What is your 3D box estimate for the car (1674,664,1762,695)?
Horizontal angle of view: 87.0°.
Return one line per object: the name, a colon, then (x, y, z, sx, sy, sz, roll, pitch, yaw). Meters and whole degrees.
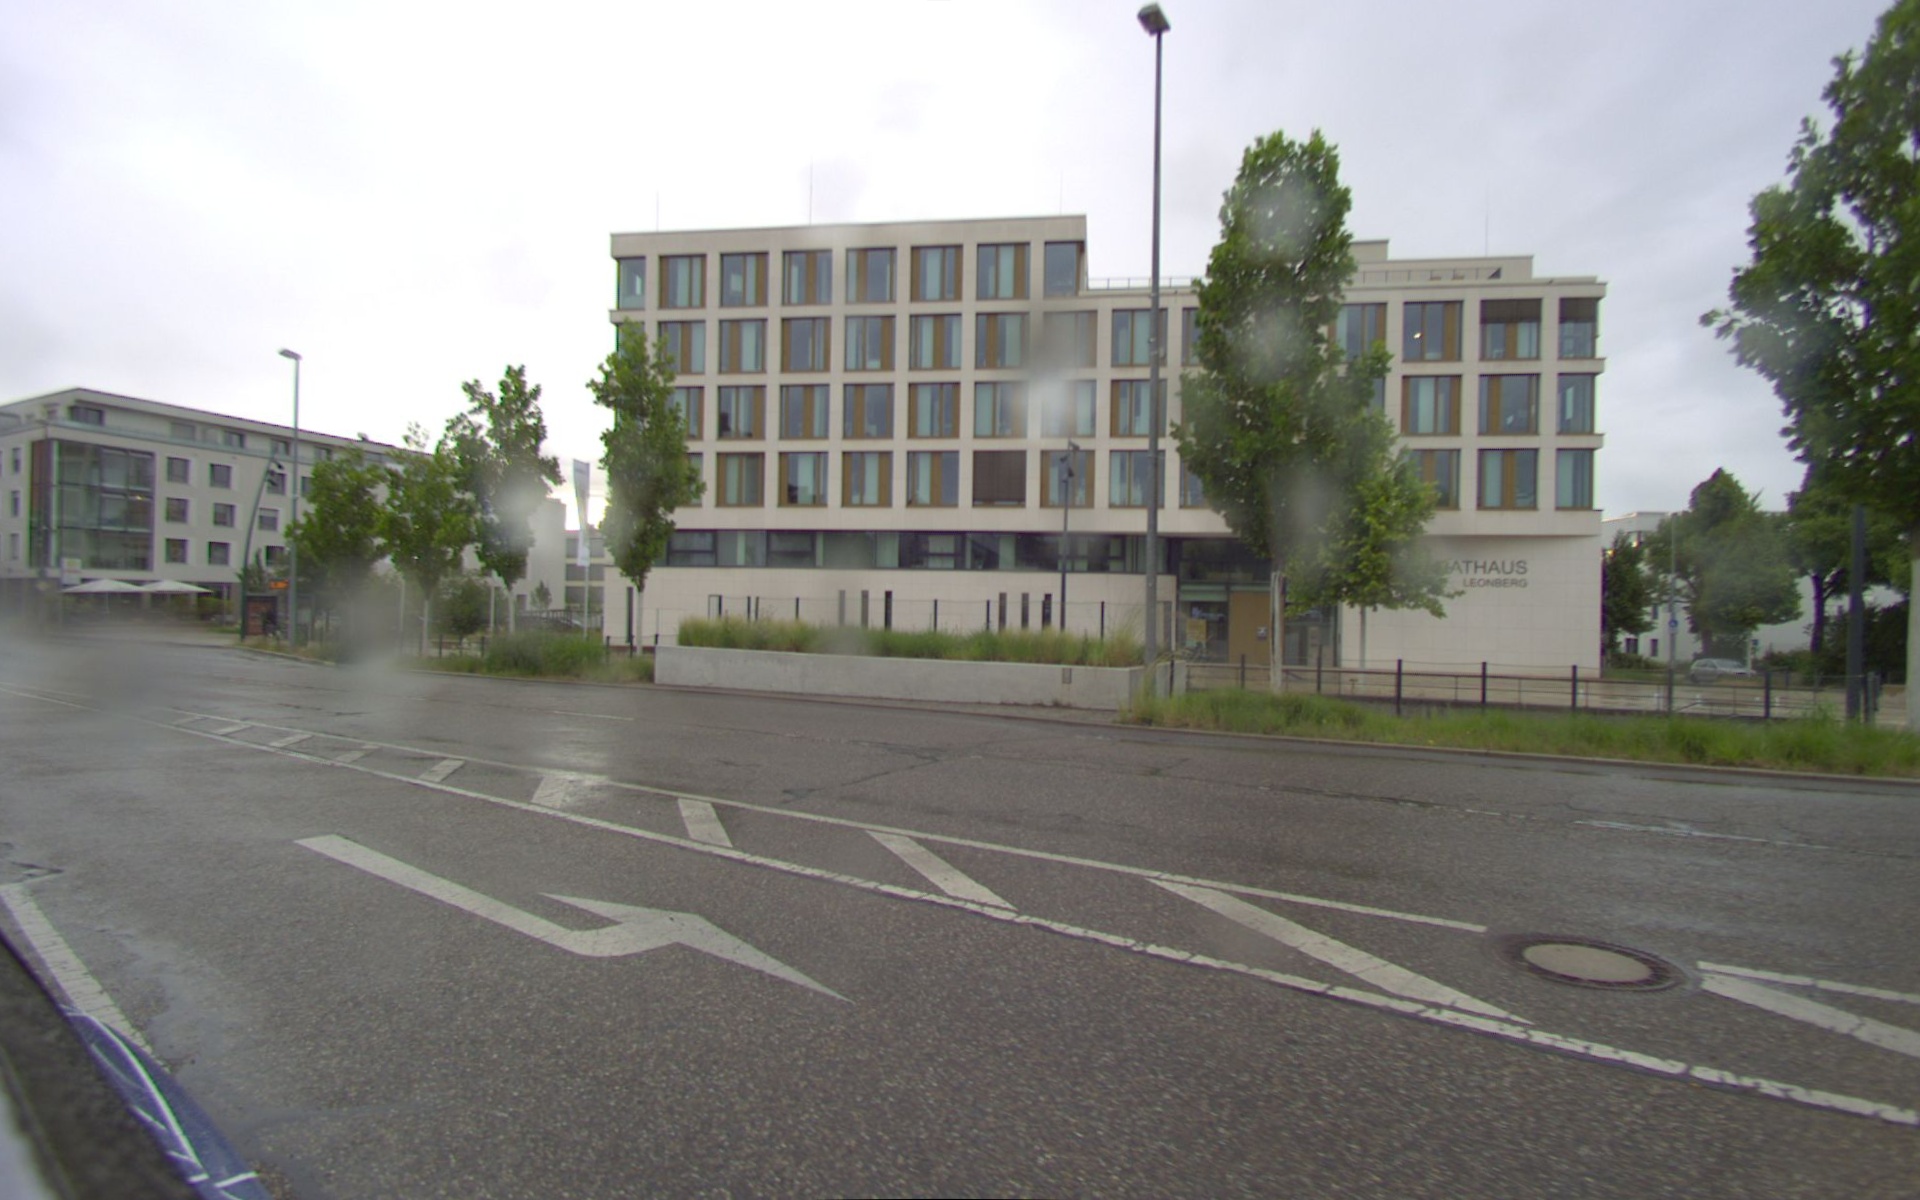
car: (40.874, 4.259, 54.690, 1.563, 1.478, 4.002, 0, -2, -3)
